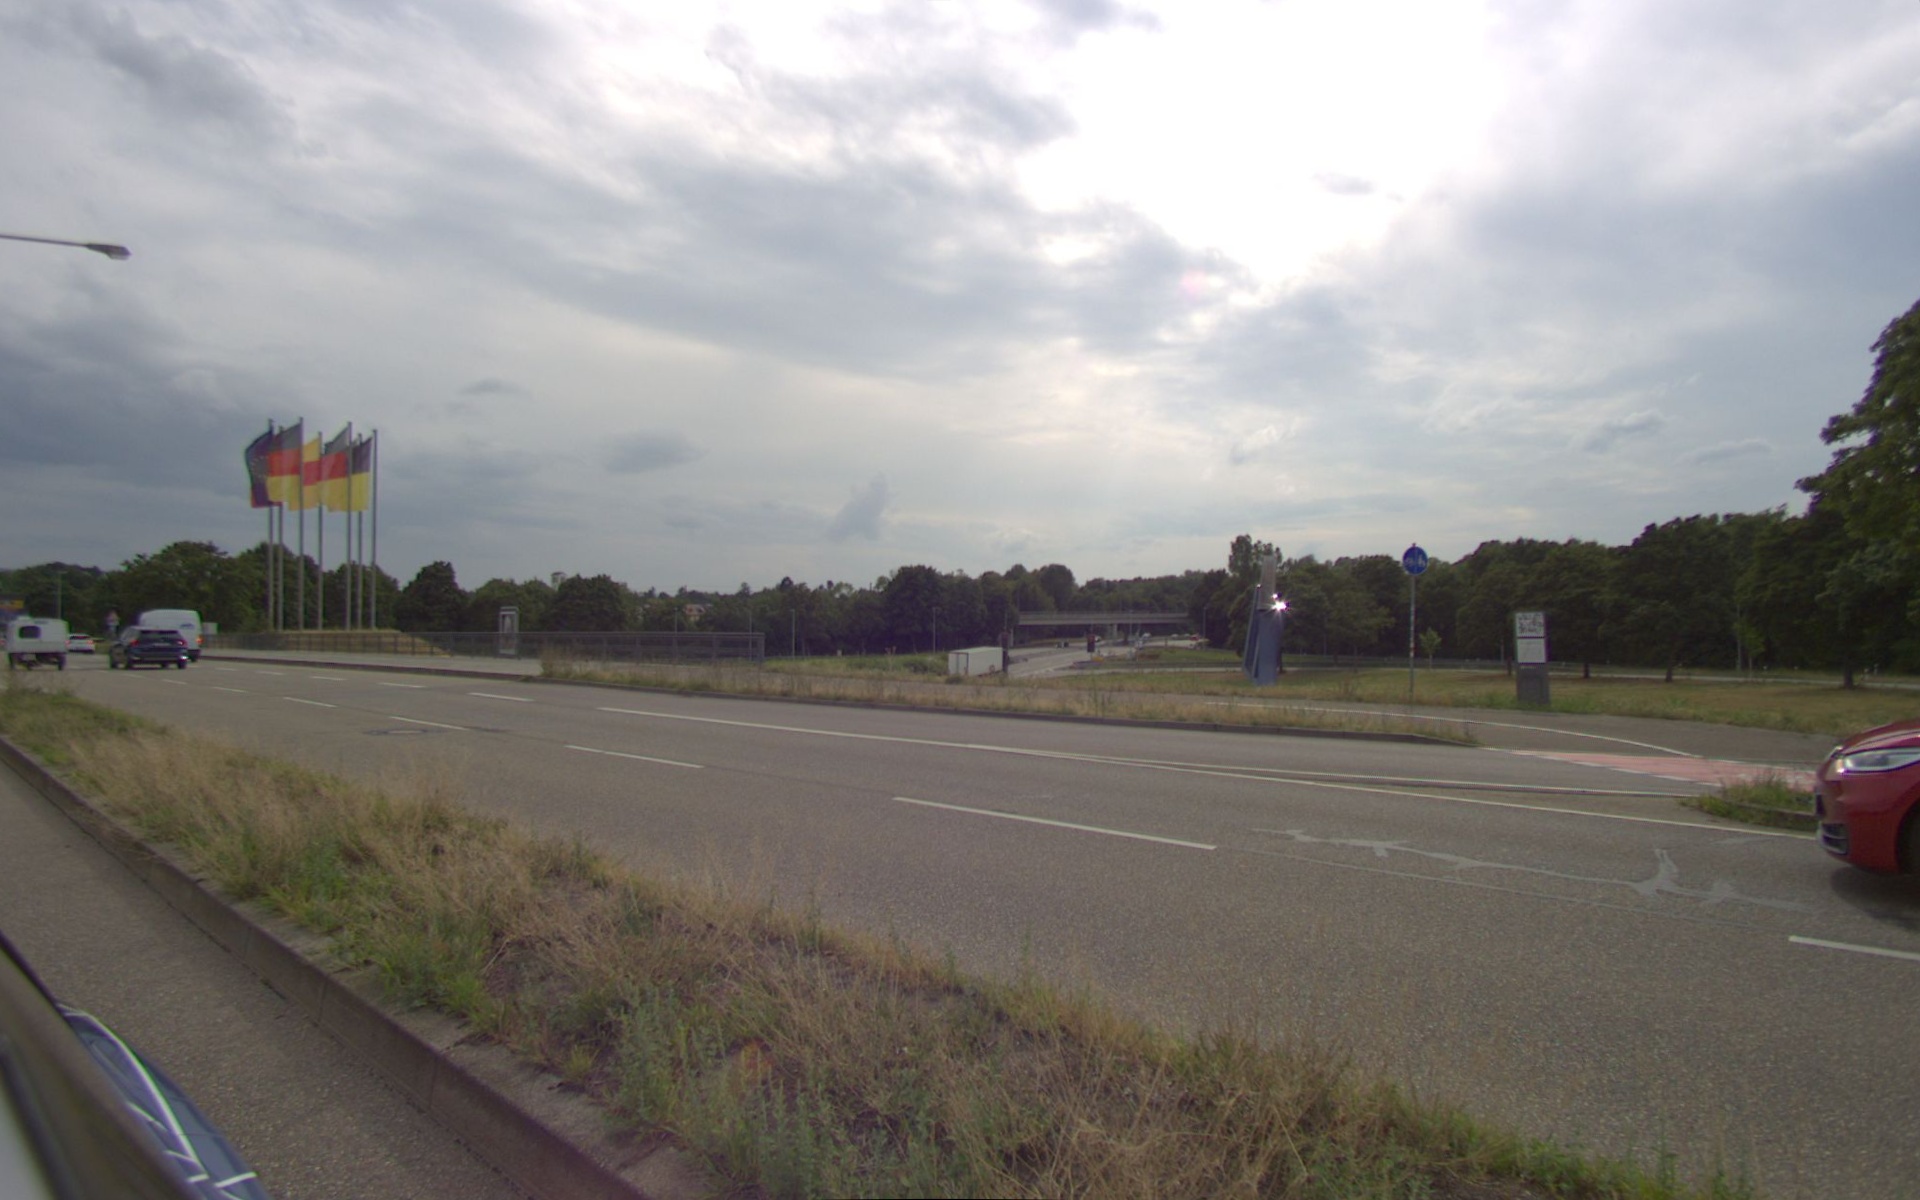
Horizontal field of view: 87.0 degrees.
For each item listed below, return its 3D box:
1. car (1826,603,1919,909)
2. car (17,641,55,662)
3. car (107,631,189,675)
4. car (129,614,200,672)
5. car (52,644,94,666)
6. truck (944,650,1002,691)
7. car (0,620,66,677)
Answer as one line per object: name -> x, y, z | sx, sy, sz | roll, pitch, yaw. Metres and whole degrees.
car -> 6.939, 0.812, 4.710 | 4.334, 1.586, 1.634 | -2, -4, 40
car -> -75.806, 4.212, 83.027 | 4.769, 1.738, 1.842 | -2, -4, 43
car -> -30.823, 1.994, 38.380 | 4.586, 1.597, 1.728 | -2, -4, 43
car -> -39.156, 2.129, 49.747 | 2.029, 2.663, 6.404 | 3, -4, -44
car -> -64.183, 3.976, 73.206 | 4.469, 1.492, 1.720 | -2, -4, 42
truck -> 1.794, 8.599, 125.317 | 3.007, 4.376, 13.915 | -1, -1, 19
car -> -32.427, 1.696, 35.261 | 3.570, 1.885, 1.523 | -2, -4, 43
